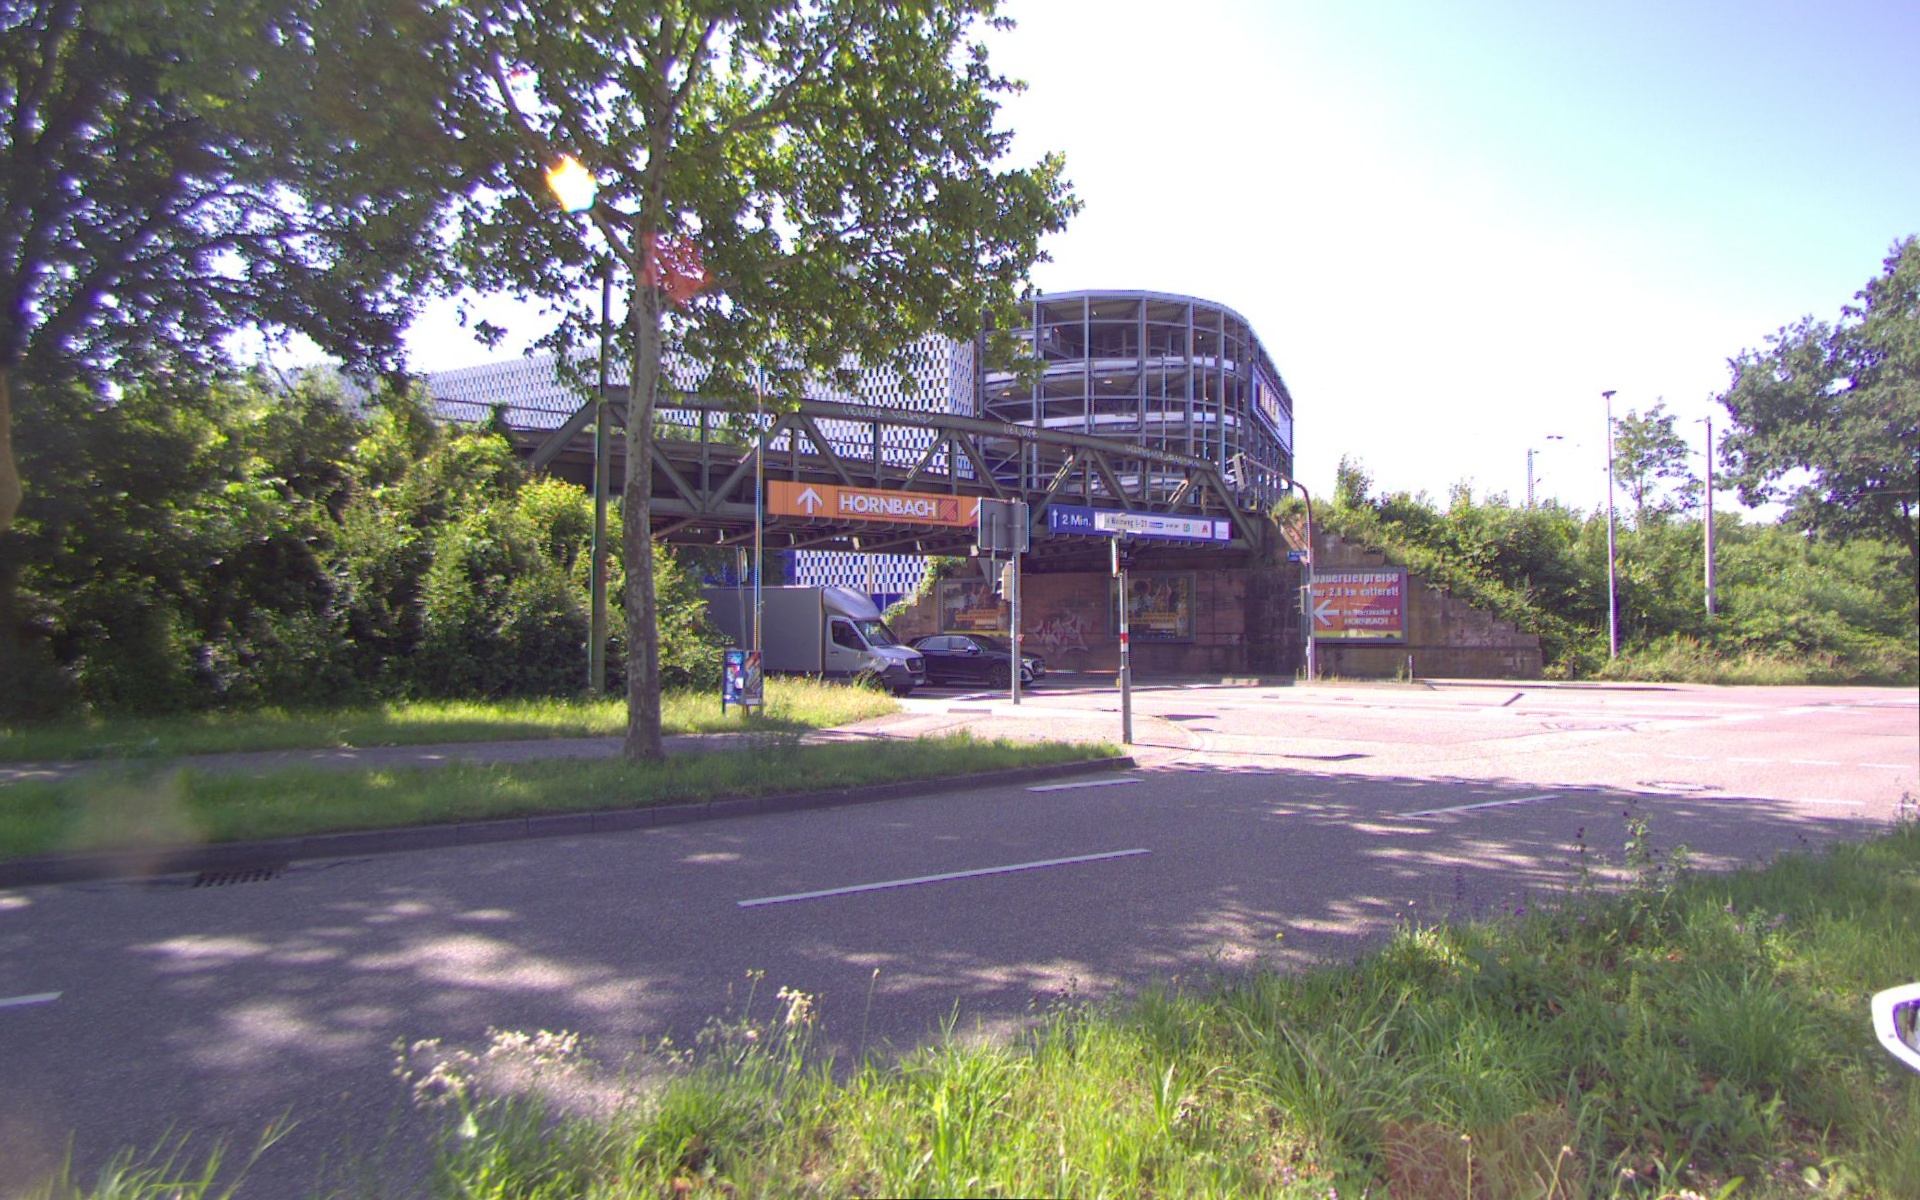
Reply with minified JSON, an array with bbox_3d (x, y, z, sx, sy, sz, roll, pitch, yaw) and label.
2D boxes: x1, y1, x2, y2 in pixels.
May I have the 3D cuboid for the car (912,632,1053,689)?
[{"bbox_3d":[0.690,1.860,31.130,3.925,1.668,1.903,-2,-2,25],"label":"car"}]

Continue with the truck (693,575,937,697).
[{"bbox_3d":[-4.171,1.068,28.502,6.737,3.146,2.217,-2,-2,25],"label":"truck"}]
